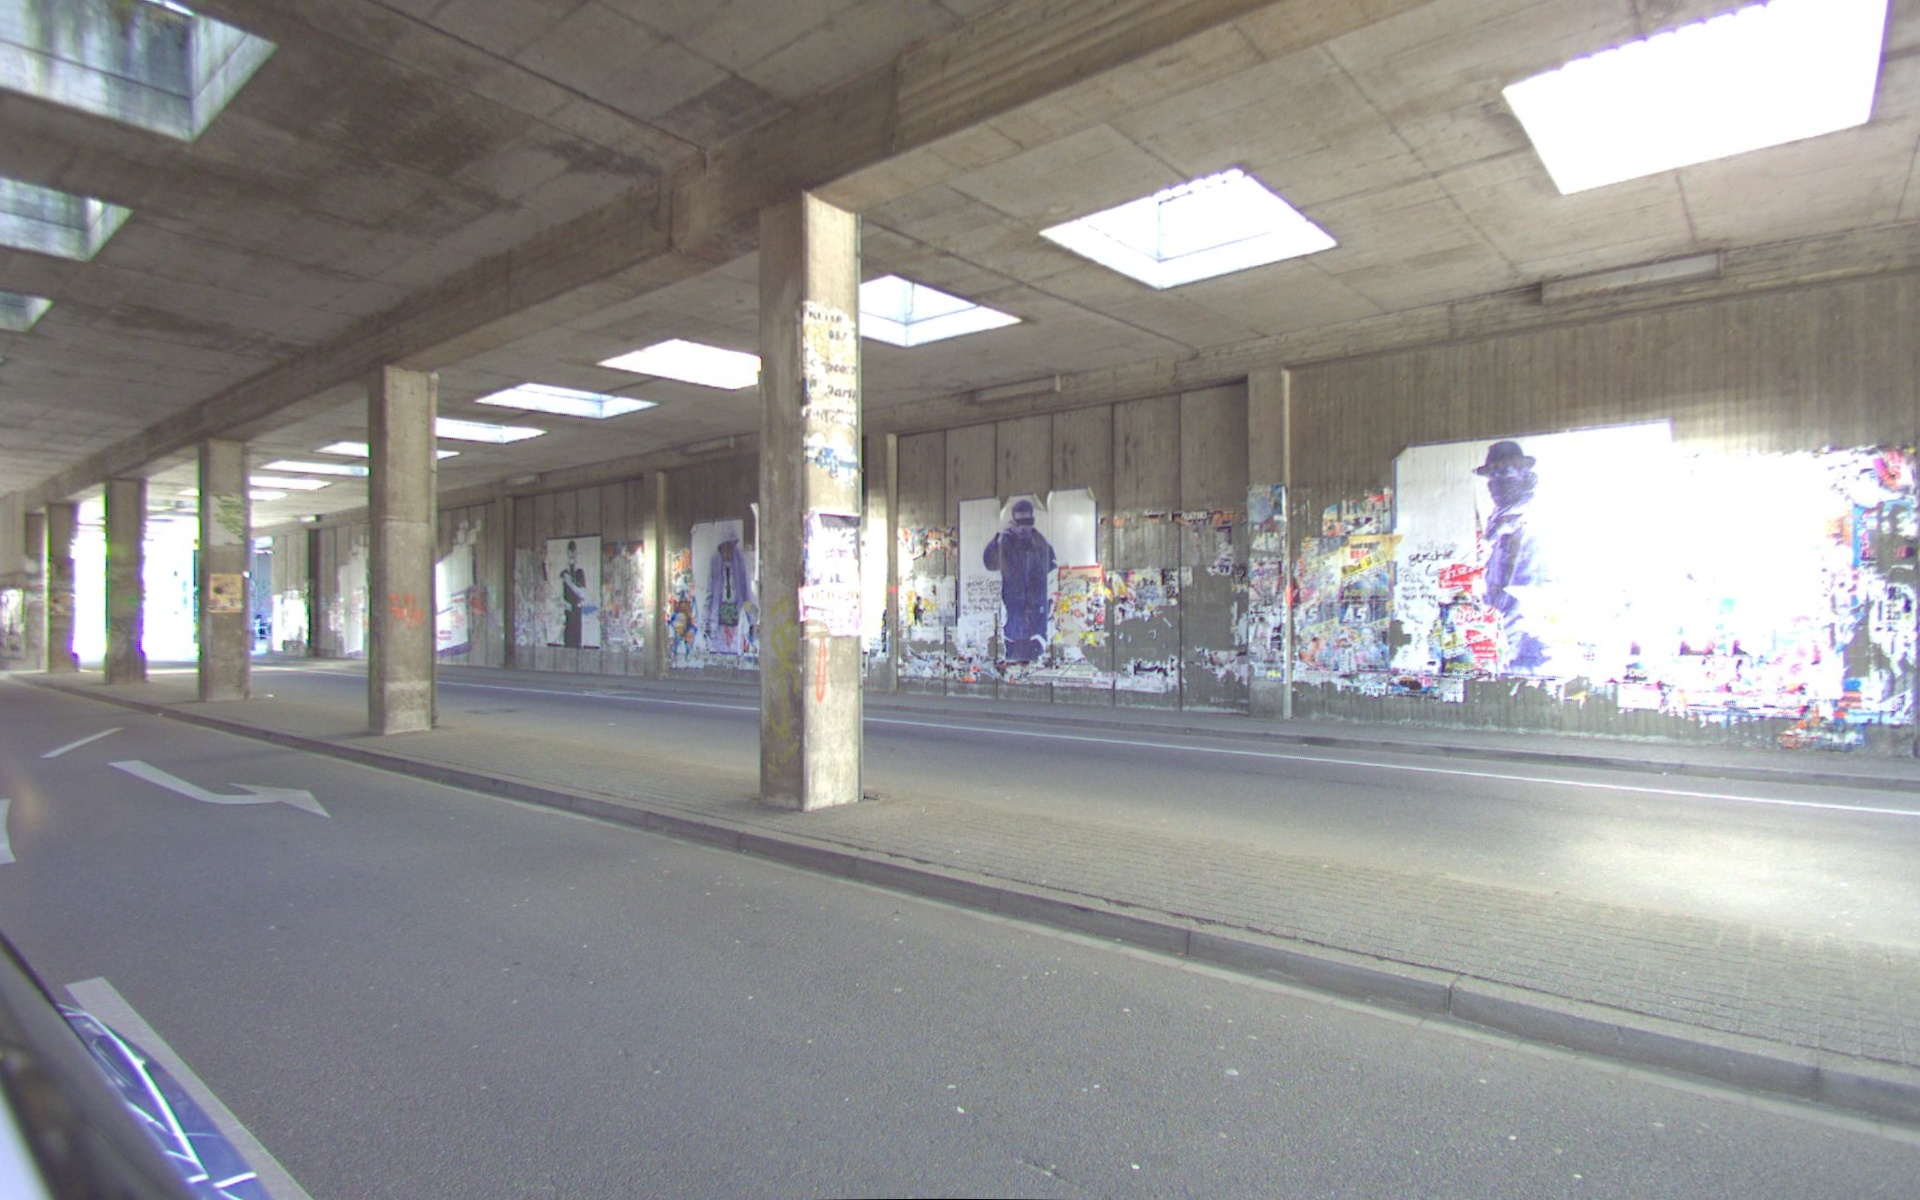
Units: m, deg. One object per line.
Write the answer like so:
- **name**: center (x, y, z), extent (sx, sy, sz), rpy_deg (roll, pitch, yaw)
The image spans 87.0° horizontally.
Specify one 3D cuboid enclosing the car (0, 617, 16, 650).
- **car**: center (-54.064, 1.859, 54.217), extent (1.994, 1.763, 4.804), rpy_deg (-1, 0, 33)
